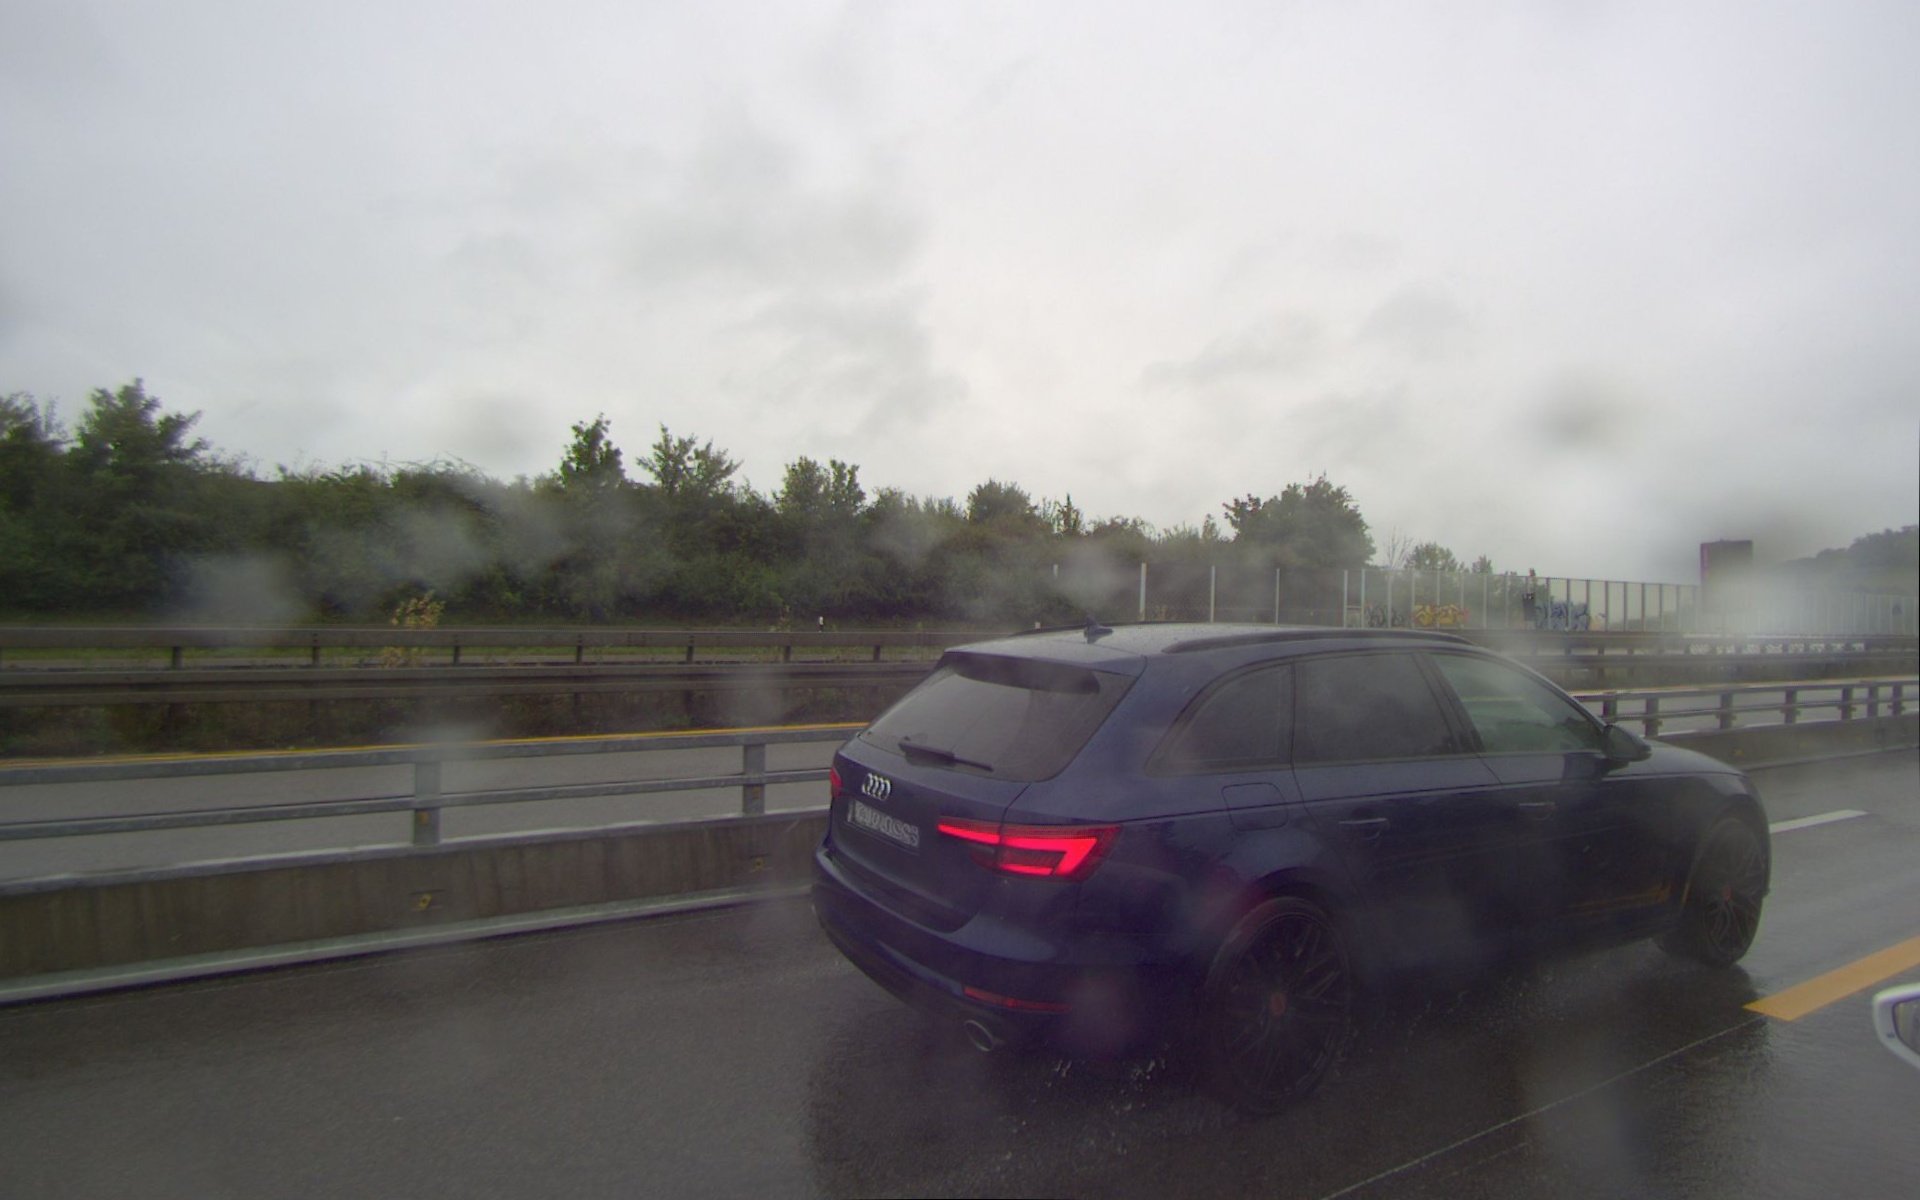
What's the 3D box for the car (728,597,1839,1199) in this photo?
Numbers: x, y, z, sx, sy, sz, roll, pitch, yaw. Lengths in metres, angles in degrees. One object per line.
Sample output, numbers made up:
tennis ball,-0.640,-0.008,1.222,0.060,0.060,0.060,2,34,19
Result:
car,1.542,0.824,4.332,4.575,1.517,1.984,2,0,-30
